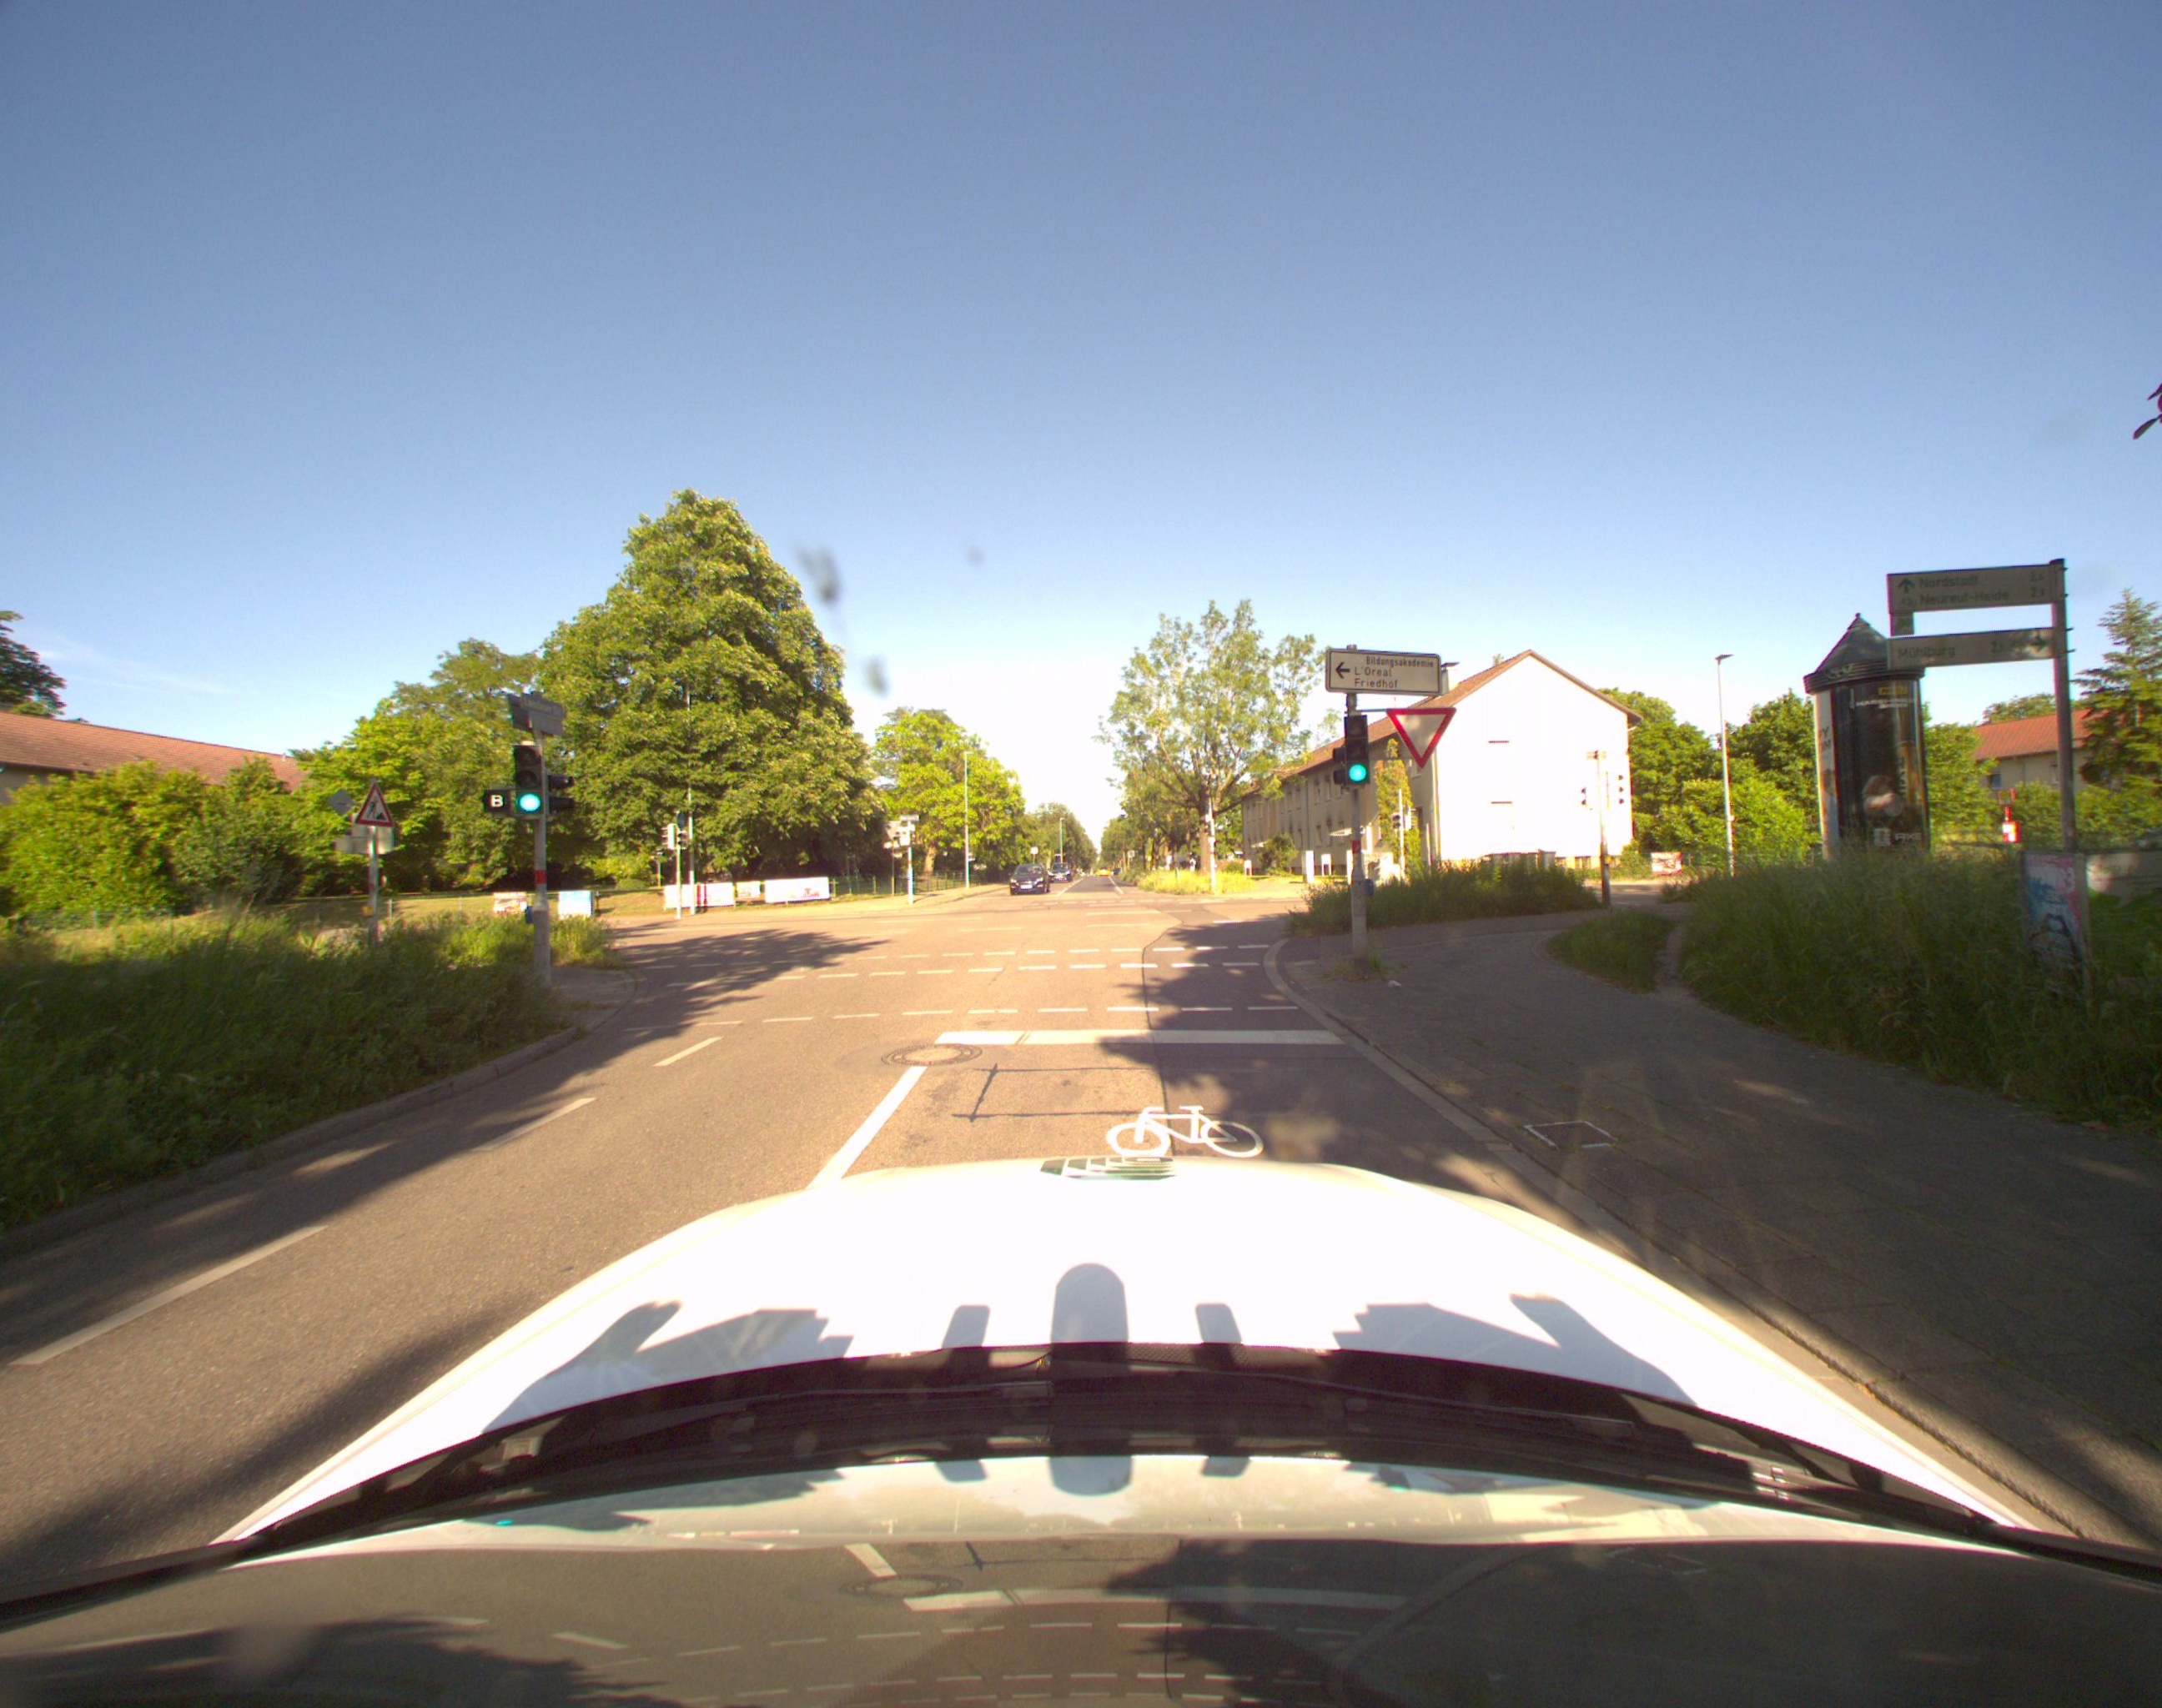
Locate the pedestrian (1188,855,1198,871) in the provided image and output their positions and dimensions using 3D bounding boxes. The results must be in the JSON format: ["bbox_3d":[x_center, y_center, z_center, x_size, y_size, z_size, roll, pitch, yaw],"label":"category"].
[{"bbox_3d":[10.695,0.838,77.950,0.838,1.493,0.924,1,-1,1],"label":"pedestrian"}]

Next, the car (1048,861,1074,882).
[{"bbox_3d":[-1.600,1.397,65.912,1.751,1.624,3.271,-2,0,3],"label":"car"}]

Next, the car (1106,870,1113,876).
[{"bbox_3d":[7.616,5.104,219.240,1.766,1.754,4.002,-1,-1,2],"label":"car"}]

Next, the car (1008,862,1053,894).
[{"bbox_3d":[-2.368,1.098,38.798,1.704,1.385,3.473,-2,0,3],"label":"car"}]

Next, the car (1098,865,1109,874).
[{"bbox_3d":[3.664,2.546,134.127,1.745,1.583,4.002,-1,-1,2],"label":"car"}]
